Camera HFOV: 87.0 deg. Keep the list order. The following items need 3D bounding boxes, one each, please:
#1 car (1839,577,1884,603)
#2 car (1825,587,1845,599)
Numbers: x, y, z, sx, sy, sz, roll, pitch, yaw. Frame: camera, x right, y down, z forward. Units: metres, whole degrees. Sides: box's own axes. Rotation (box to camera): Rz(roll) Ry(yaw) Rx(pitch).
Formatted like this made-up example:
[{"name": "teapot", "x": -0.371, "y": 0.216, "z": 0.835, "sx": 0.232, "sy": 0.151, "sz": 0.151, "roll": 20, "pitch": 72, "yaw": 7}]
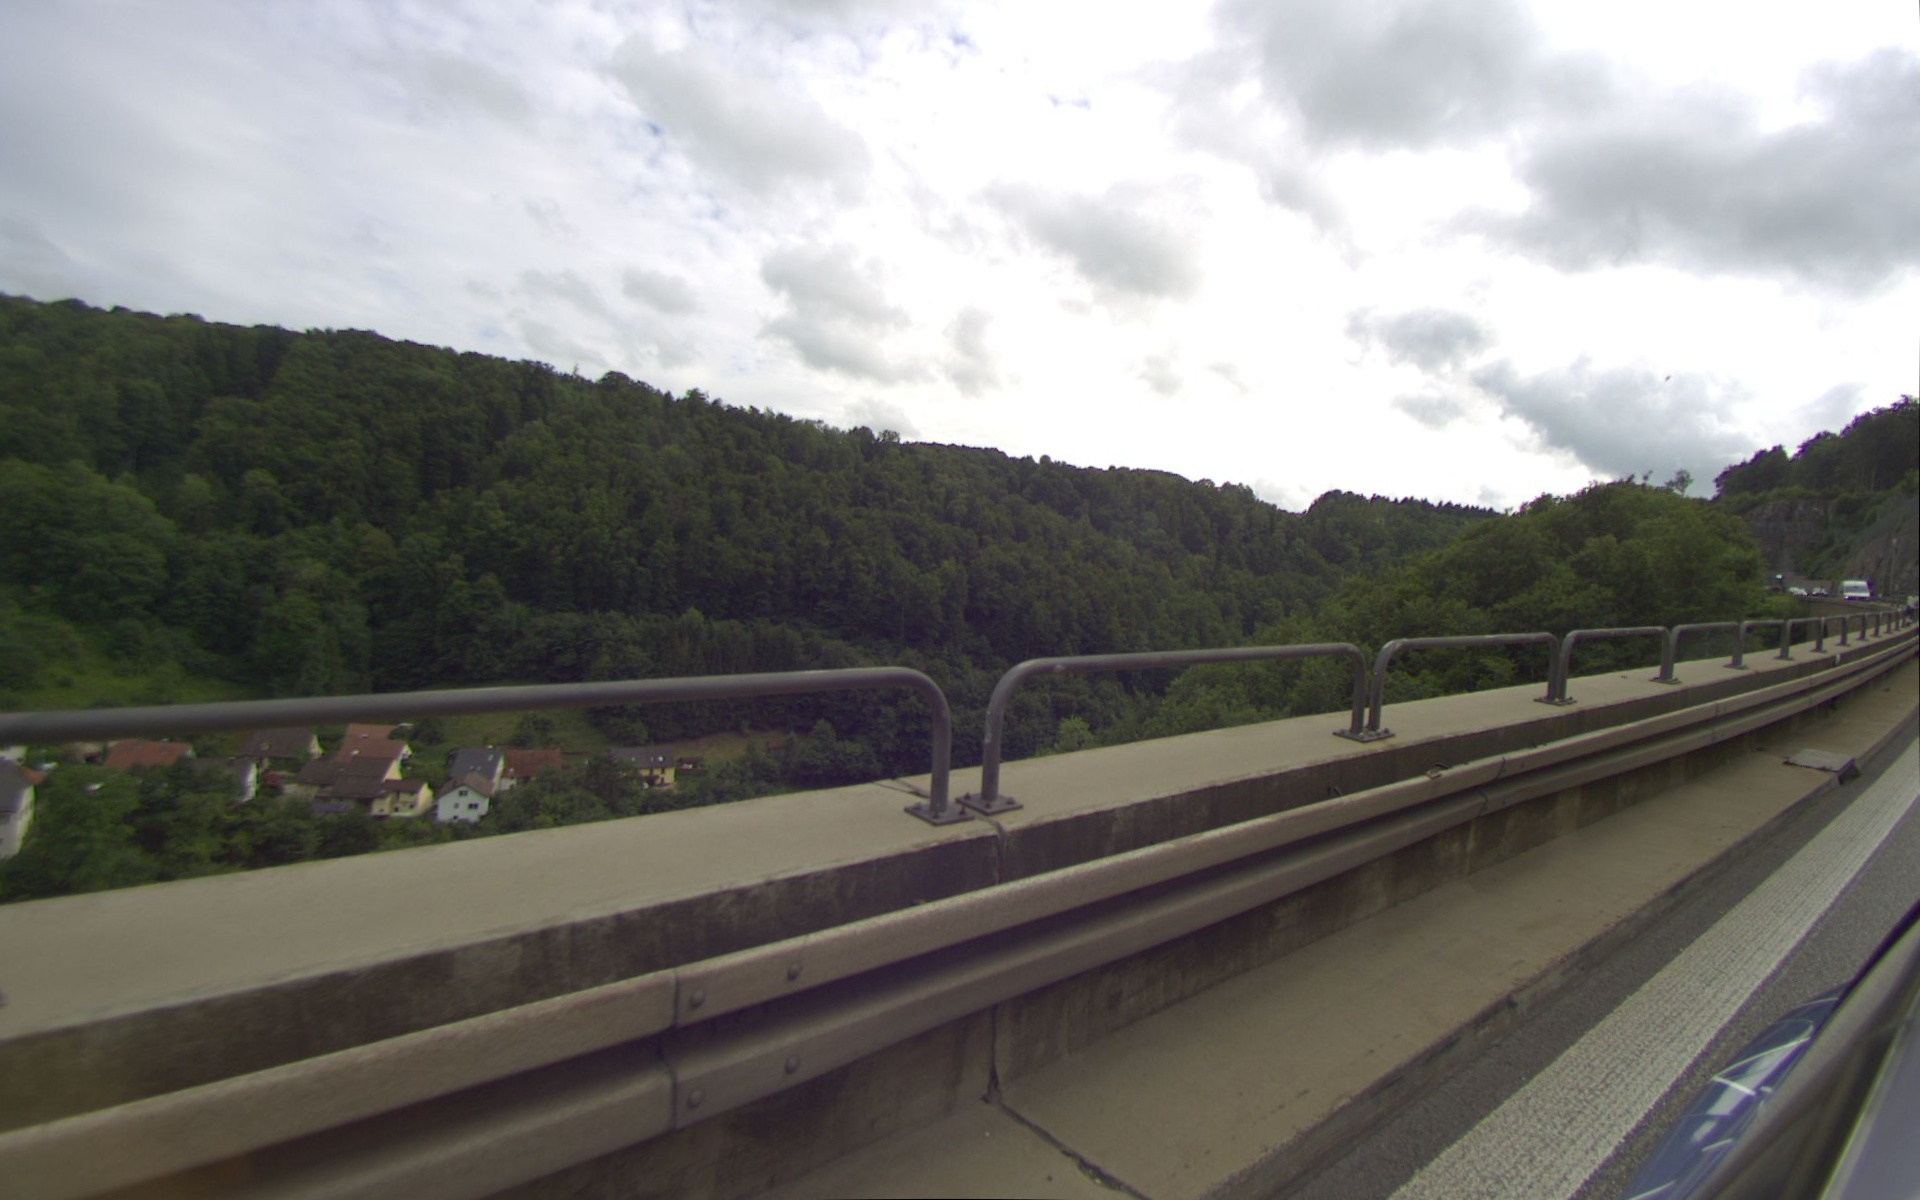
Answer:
[{"name": "car", "x": 87.753, "y": -1.012, "z": 98.605, "sx": 2.659, "sy": 2.453, "sz": 6.042, "roll": 1, "pitch": 1, "yaw": 36}, {"name": "car", "x": 140.680, "y": -1.126, "z": 162.764, "sx": 1.986, "sy": 2.039, "sz": 3.951, "roll": 1, "pitch": 1, "yaw": 34}]
